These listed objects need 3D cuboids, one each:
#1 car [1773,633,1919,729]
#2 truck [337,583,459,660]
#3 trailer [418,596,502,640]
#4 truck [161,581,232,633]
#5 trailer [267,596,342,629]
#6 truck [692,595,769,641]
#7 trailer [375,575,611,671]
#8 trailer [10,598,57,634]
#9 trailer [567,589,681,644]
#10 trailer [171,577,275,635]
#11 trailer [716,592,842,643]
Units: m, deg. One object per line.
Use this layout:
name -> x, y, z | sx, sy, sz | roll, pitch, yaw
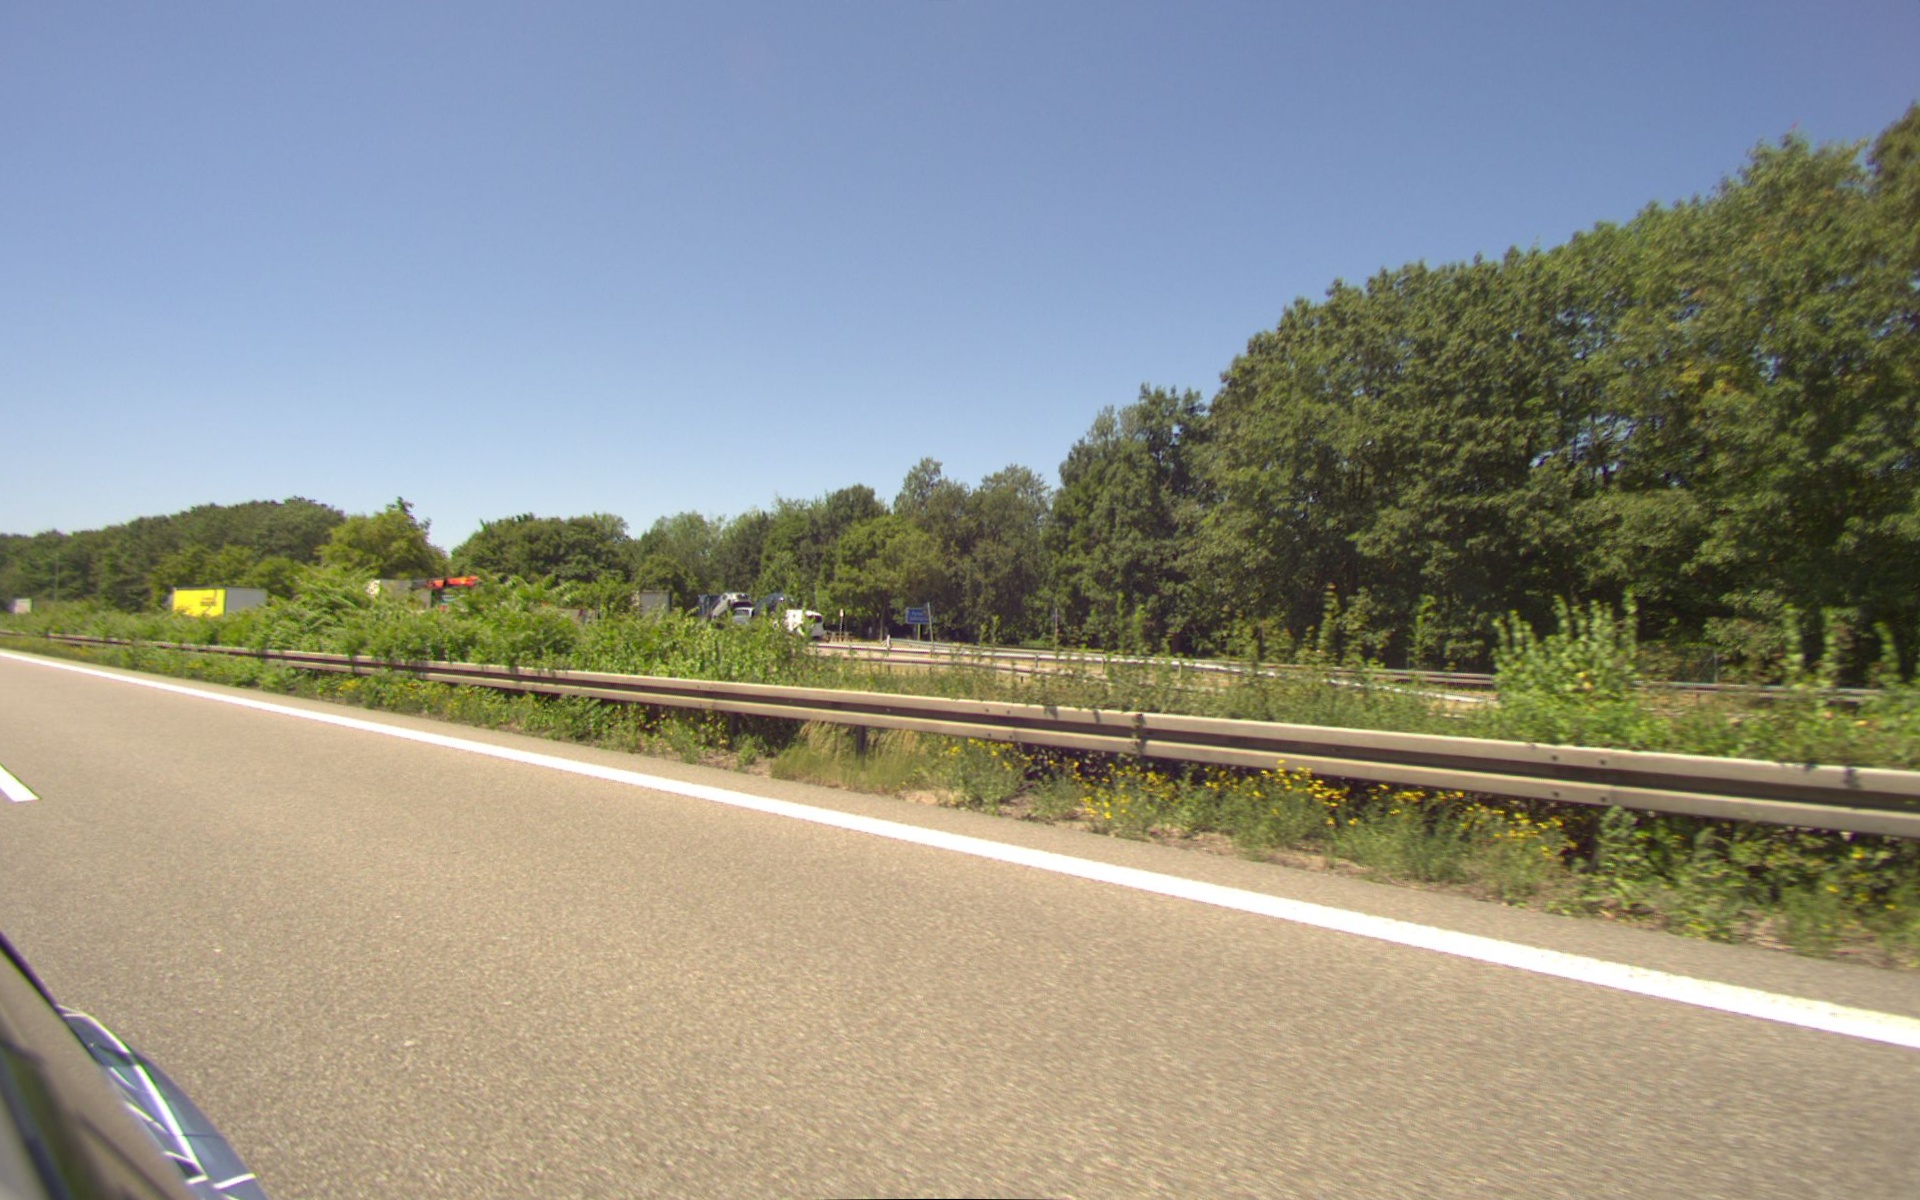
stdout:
car -> 17.791, 1.482, 18.898 | 3.998, 1.606, 1.951 | -1, 0, 41
truck -> -28.203, 1.041, 50.697 | 6.993, 3.607, 3.164 | -1, 0, 41
trailer -> -56.577, 2.058, 114.202 | 14.019, 4.627, 3.562 | -1, -2, 42
truck -> -59.025, 0.534, 78.163 | 6.392, 3.854, 3.164 | -1, 0, 41
trailer -> -89.704, 1.800, 138.319 | 13.989, 4.296, 3.570 | -1, -2, 35
truck -> -19.510, 1.585, 85.581 | 3.554, 3.684, 7.419 | 2, -2, -37
trailer -> -20.917, 0.937, 44.274 | 15.961, 3.607, 3.164 | -1, 0, 41
trailer -> -116.583, 2.024, 127.241 | 11.480, 4.304, 2.873 | -1, 0, 40
trailer -> -27.836, 1.298, 83.077 | 3.178, 4.167, 14.062 | -1, 0, -44
trailer -> -53.659, 0.458, 73.394 | 14.017, 3.854, 3.164 | -1, 0, 42
trailer -> -14.373, 1.413, 78.835 | 3.554, 3.684, 14.052 | 2, -2, -37
